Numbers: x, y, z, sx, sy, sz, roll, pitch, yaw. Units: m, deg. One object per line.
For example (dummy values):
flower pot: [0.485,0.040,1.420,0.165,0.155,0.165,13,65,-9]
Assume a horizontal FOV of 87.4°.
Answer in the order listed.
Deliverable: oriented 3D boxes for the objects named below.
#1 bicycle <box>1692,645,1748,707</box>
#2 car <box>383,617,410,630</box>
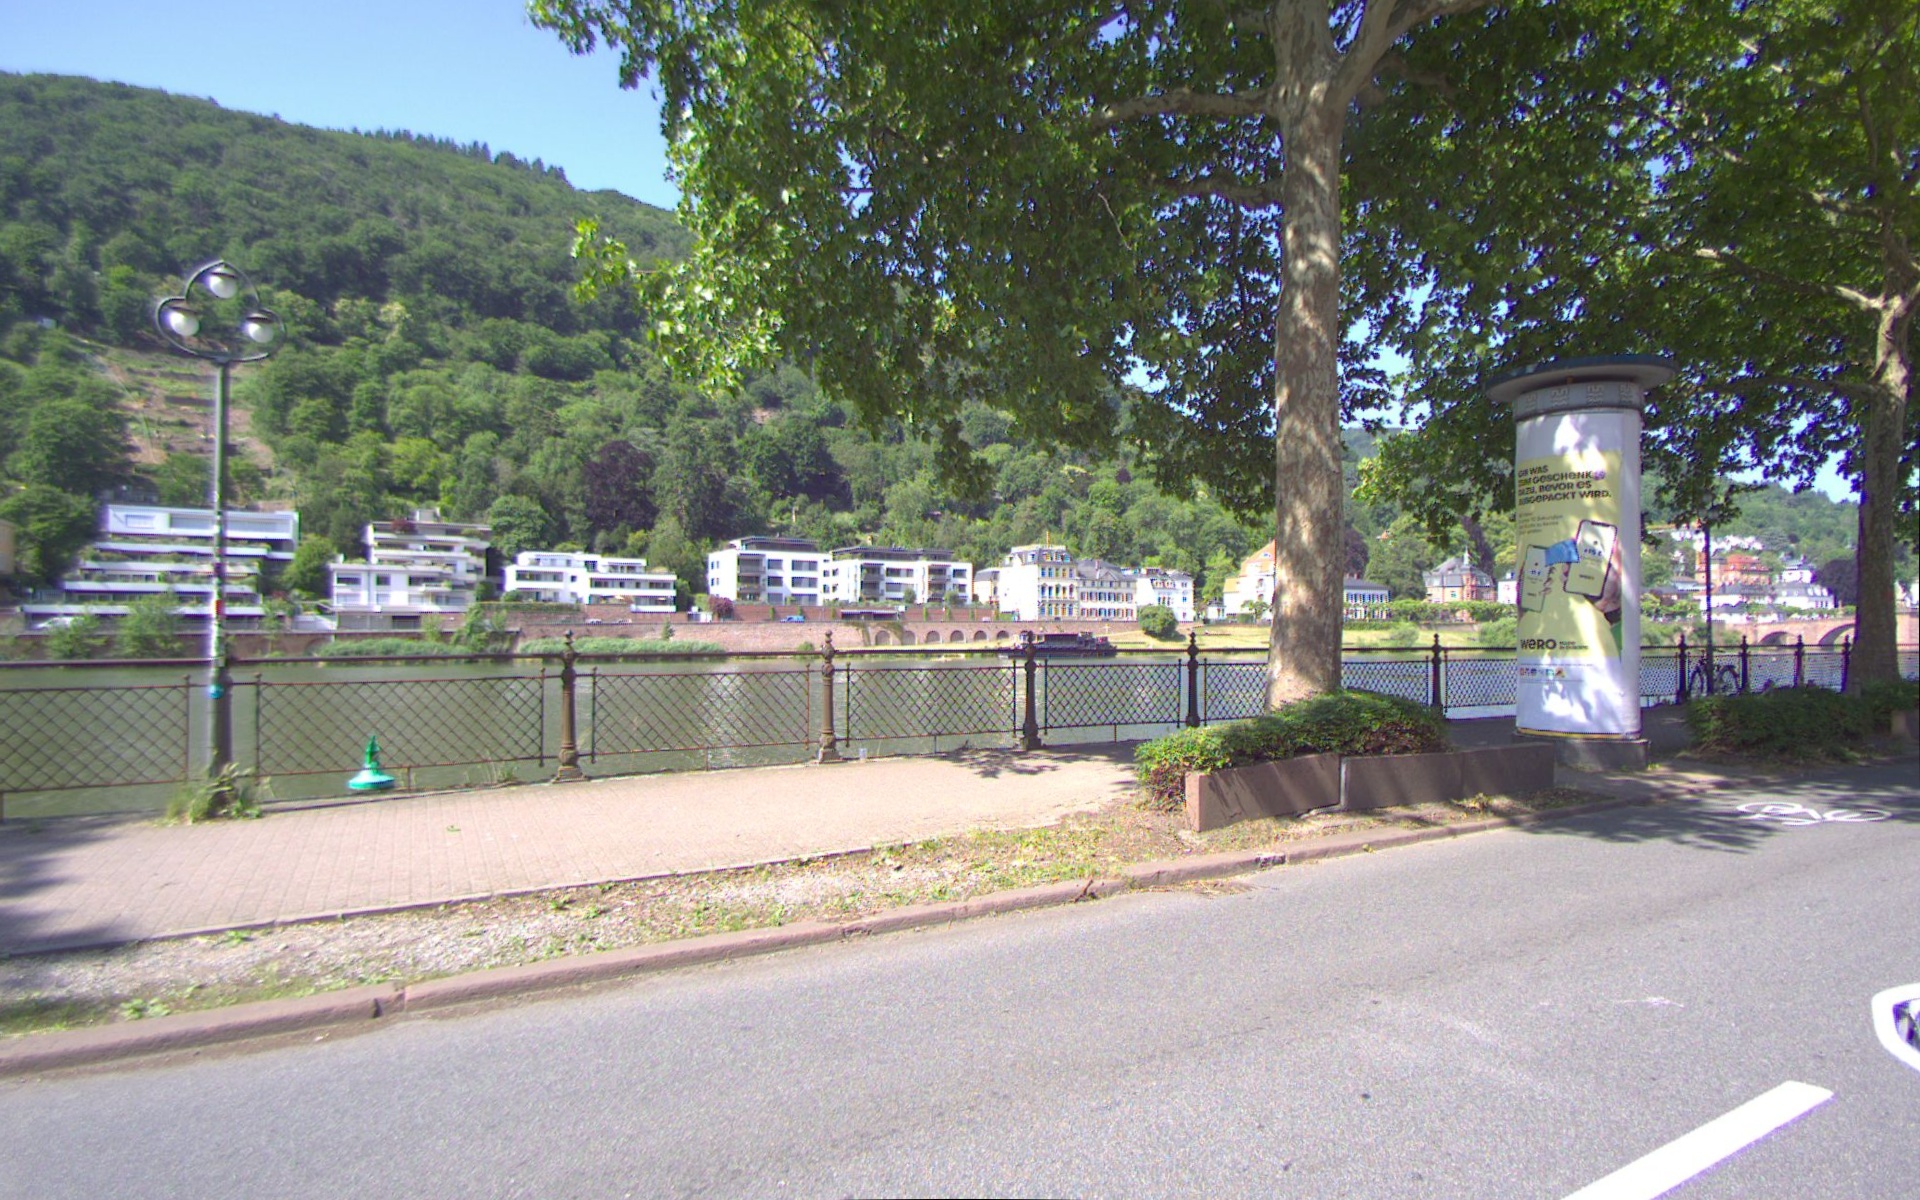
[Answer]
bicycle: [14.346,1.413,18.953,1.281,1.106,0.357,1,2,-31]
car: [-95.452,3.939,170.076,3.953,2.041,1.984,-1,1,-30]
